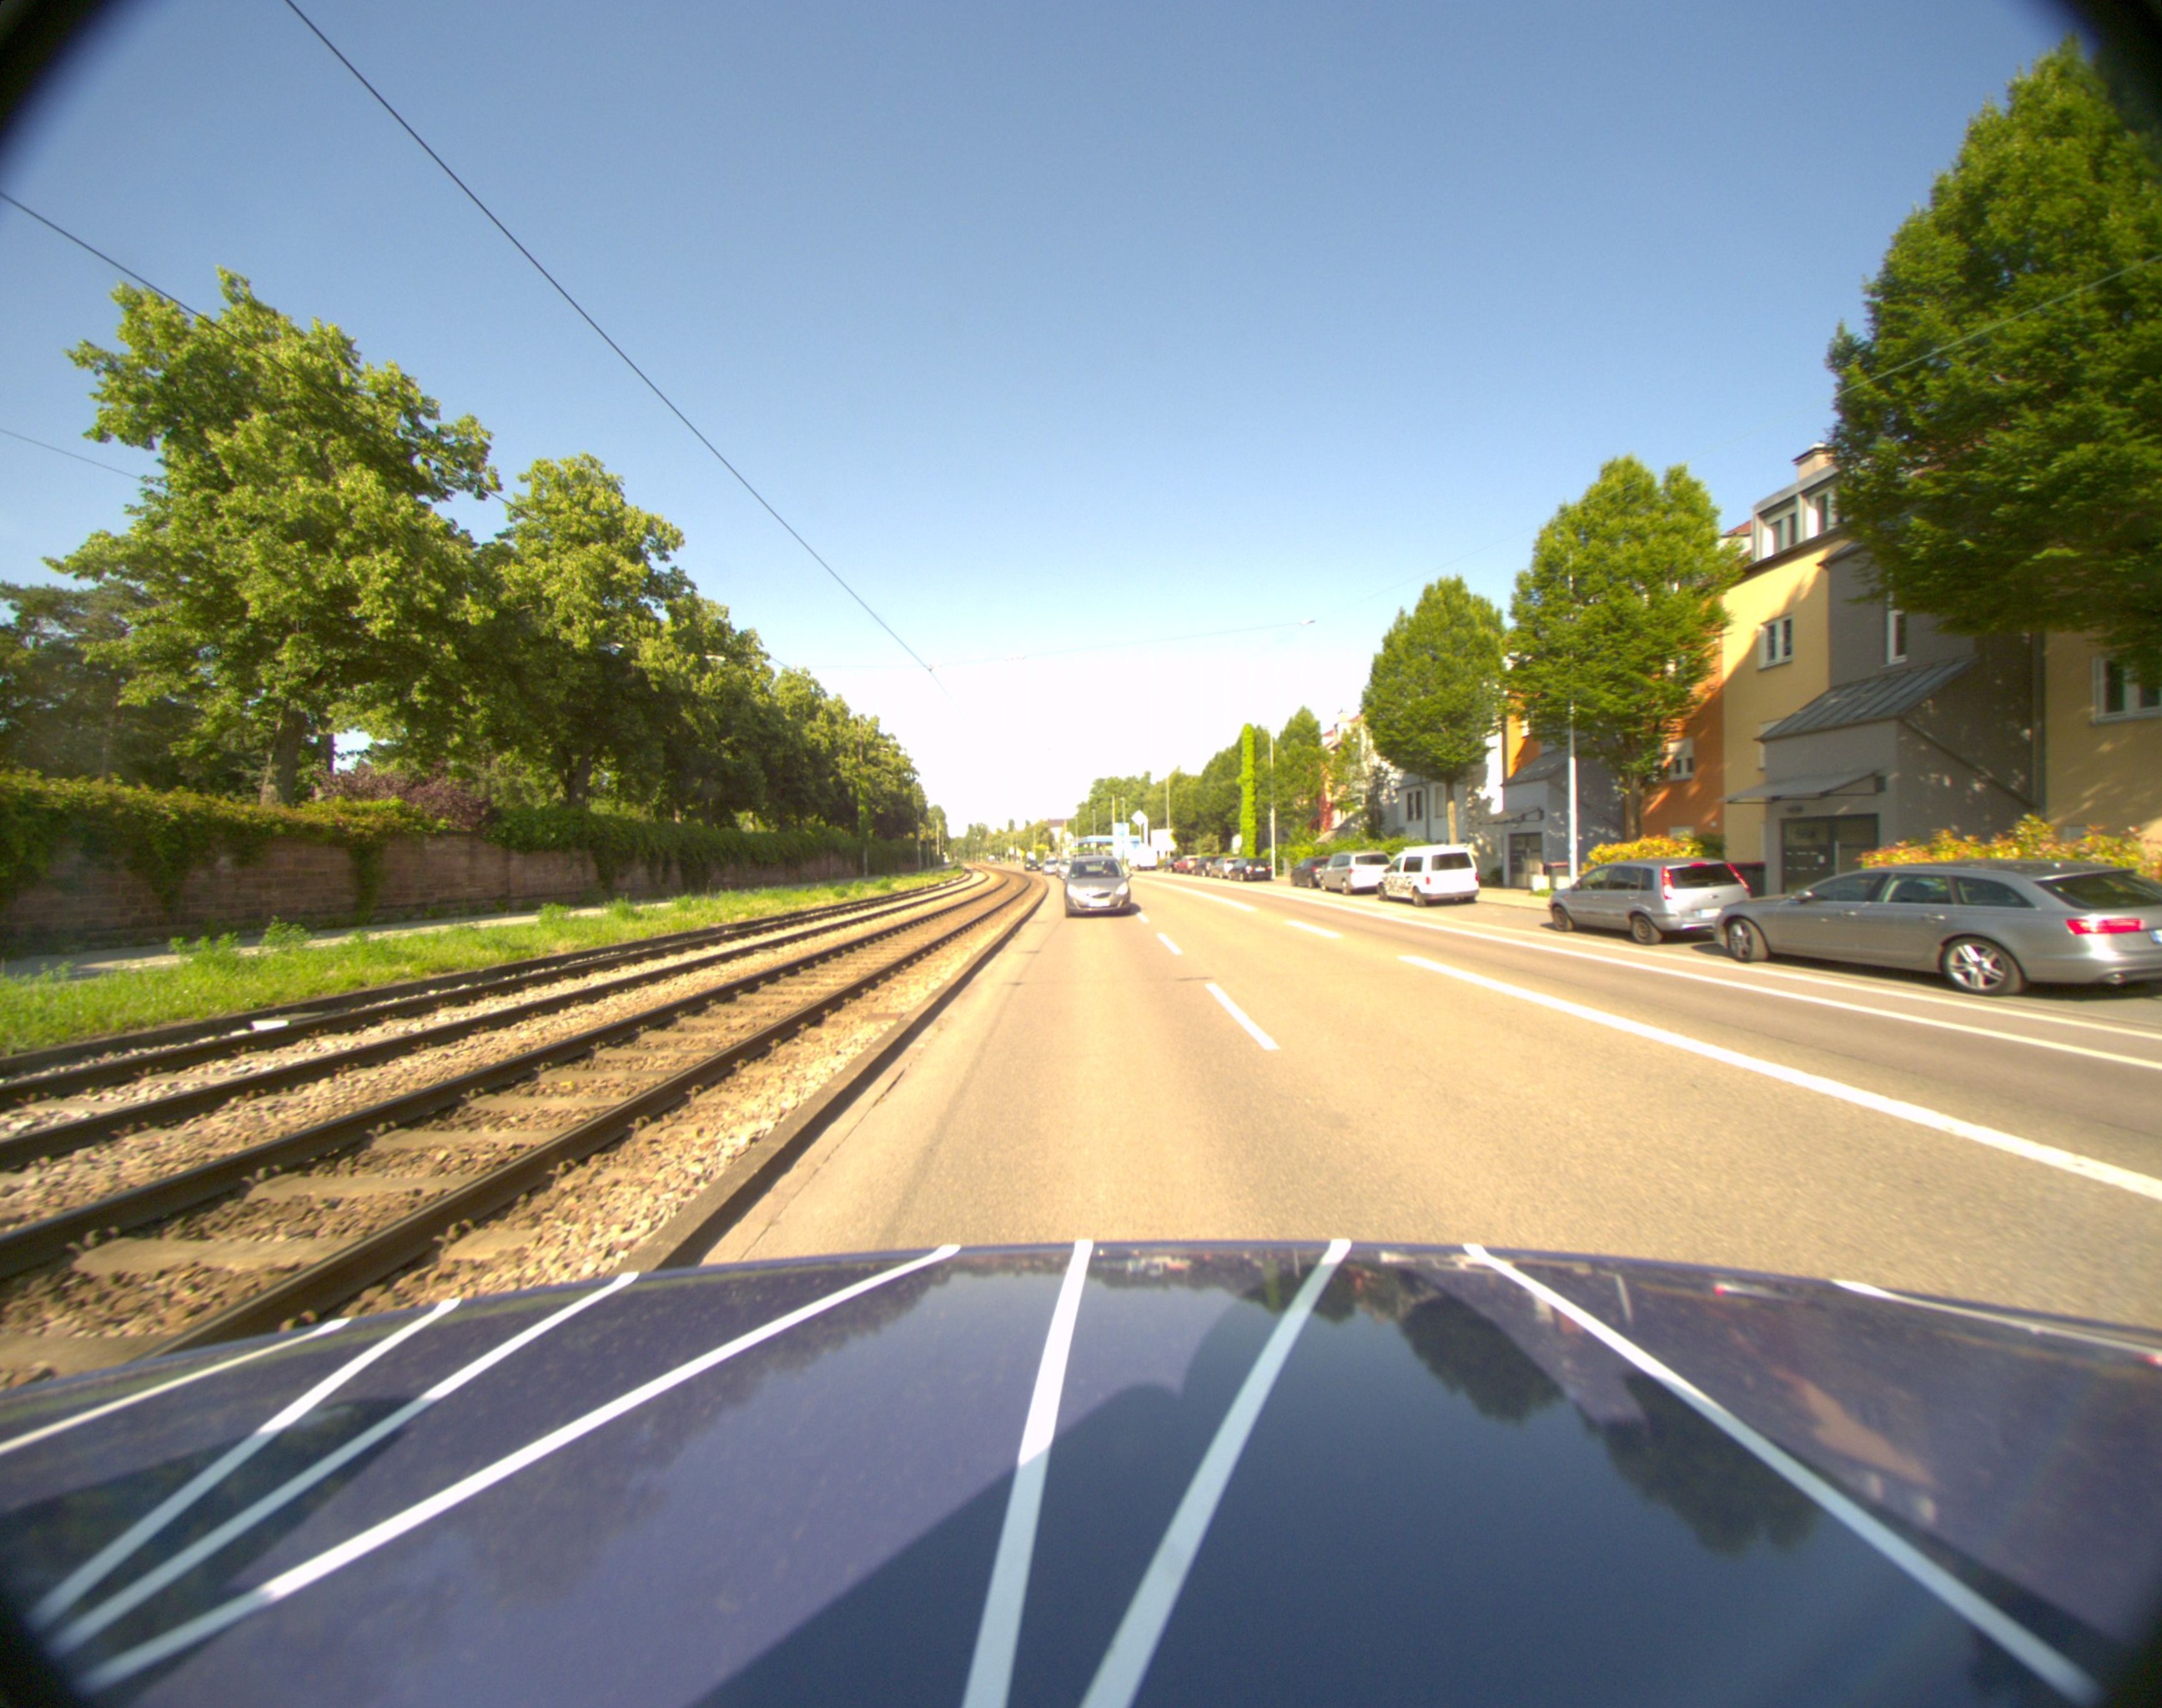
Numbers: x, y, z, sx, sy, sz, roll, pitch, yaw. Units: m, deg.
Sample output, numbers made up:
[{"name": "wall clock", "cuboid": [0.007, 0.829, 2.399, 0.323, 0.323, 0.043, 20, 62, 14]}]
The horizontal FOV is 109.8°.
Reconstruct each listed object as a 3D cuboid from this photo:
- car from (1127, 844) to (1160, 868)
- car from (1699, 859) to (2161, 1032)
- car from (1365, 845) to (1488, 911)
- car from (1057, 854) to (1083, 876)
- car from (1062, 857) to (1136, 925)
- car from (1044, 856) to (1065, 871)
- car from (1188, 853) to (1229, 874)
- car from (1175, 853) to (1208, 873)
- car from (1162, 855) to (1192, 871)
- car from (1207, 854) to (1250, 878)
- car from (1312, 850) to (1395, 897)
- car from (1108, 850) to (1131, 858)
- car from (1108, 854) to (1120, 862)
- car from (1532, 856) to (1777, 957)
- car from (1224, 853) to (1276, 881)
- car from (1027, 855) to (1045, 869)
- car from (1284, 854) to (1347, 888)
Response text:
[{"name": "car", "cuboid": [6.934, 0.221, 85.294, 2.159, 2.443, 6.179, -3, 0, -9]}, {"name": "car", "cuboid": [10.890, 0.910, 9.804, 1.753, 1.502, 4.754, -5, 0, -2]}, {"name": "car", "cuboid": [11.250, 0.712, 25.123, 1.767, 1.835, 4.579, -5, 0, -1]}, {"name": "car", "cuboid": [-0.866, 0.779, 57.142, 1.710, 1.487, 3.999, -2, 0, -3]}, {"name": "car", "cuboid": [0.405, 0.896, 20.083, 1.730, 1.574, 3.763, -1, 0, -1]}, {"name": "car", "cuboid": [-2.475, 0.846, 69.783, 1.579, 1.306, 3.997, -2, 0, -7]}, {"name": "car", "cuboid": [9.897, 0.699, 59.293, 1.768, 1.565, 4.433, -2, 1, -9]}, {"name": "car", "cuboid": [9.451, 0.724, 65.163, 1.768, 1.565, 4.159, -1, 1, -6]}, {"name": "car", "cuboid": [8.855, 0.849, 70.467, 1.657, 1.416, 4.710, -1, 0, -6]}, {"name": "car", "cuboid": [10.402, 0.803, 53.953, 1.717, 1.463, 4.841, -3, 1, -5]}, {"name": "car", "cuboid": [11.108, 0.733, 31.303, 1.672, 1.691, 4.824, -3, 0, 1]}, {"name": "car", "cuboid": [8.774, 0.001, 173.057, 5.085, 1.929, 1.856, 0, 0, -4]}, {"name": "car", "cuboid": [6.814, 0.784, 155.583, 1.742, 1.482, 4.271, 0, 0, -8]}, {"name": "car", "cuboid": [10.984, 0.907, 14.978, 1.767, 1.530, 3.981, -5, 0, 1]}, {"name": "car", "cuboid": [10.603, 0.771, 47.977, 1.871, 1.535, 4.908, -3, 0, -3]}, {"name": "car", "cuboid": [-5.422, 0.918, 90.508, 1.711, 1.581, 3.996, -2, 0, -9]}, {"name": "car", "cuboid": [11.249, 0.767, 36.737, 1.620, 1.457, 4.057, -2, 0, -2]}]
